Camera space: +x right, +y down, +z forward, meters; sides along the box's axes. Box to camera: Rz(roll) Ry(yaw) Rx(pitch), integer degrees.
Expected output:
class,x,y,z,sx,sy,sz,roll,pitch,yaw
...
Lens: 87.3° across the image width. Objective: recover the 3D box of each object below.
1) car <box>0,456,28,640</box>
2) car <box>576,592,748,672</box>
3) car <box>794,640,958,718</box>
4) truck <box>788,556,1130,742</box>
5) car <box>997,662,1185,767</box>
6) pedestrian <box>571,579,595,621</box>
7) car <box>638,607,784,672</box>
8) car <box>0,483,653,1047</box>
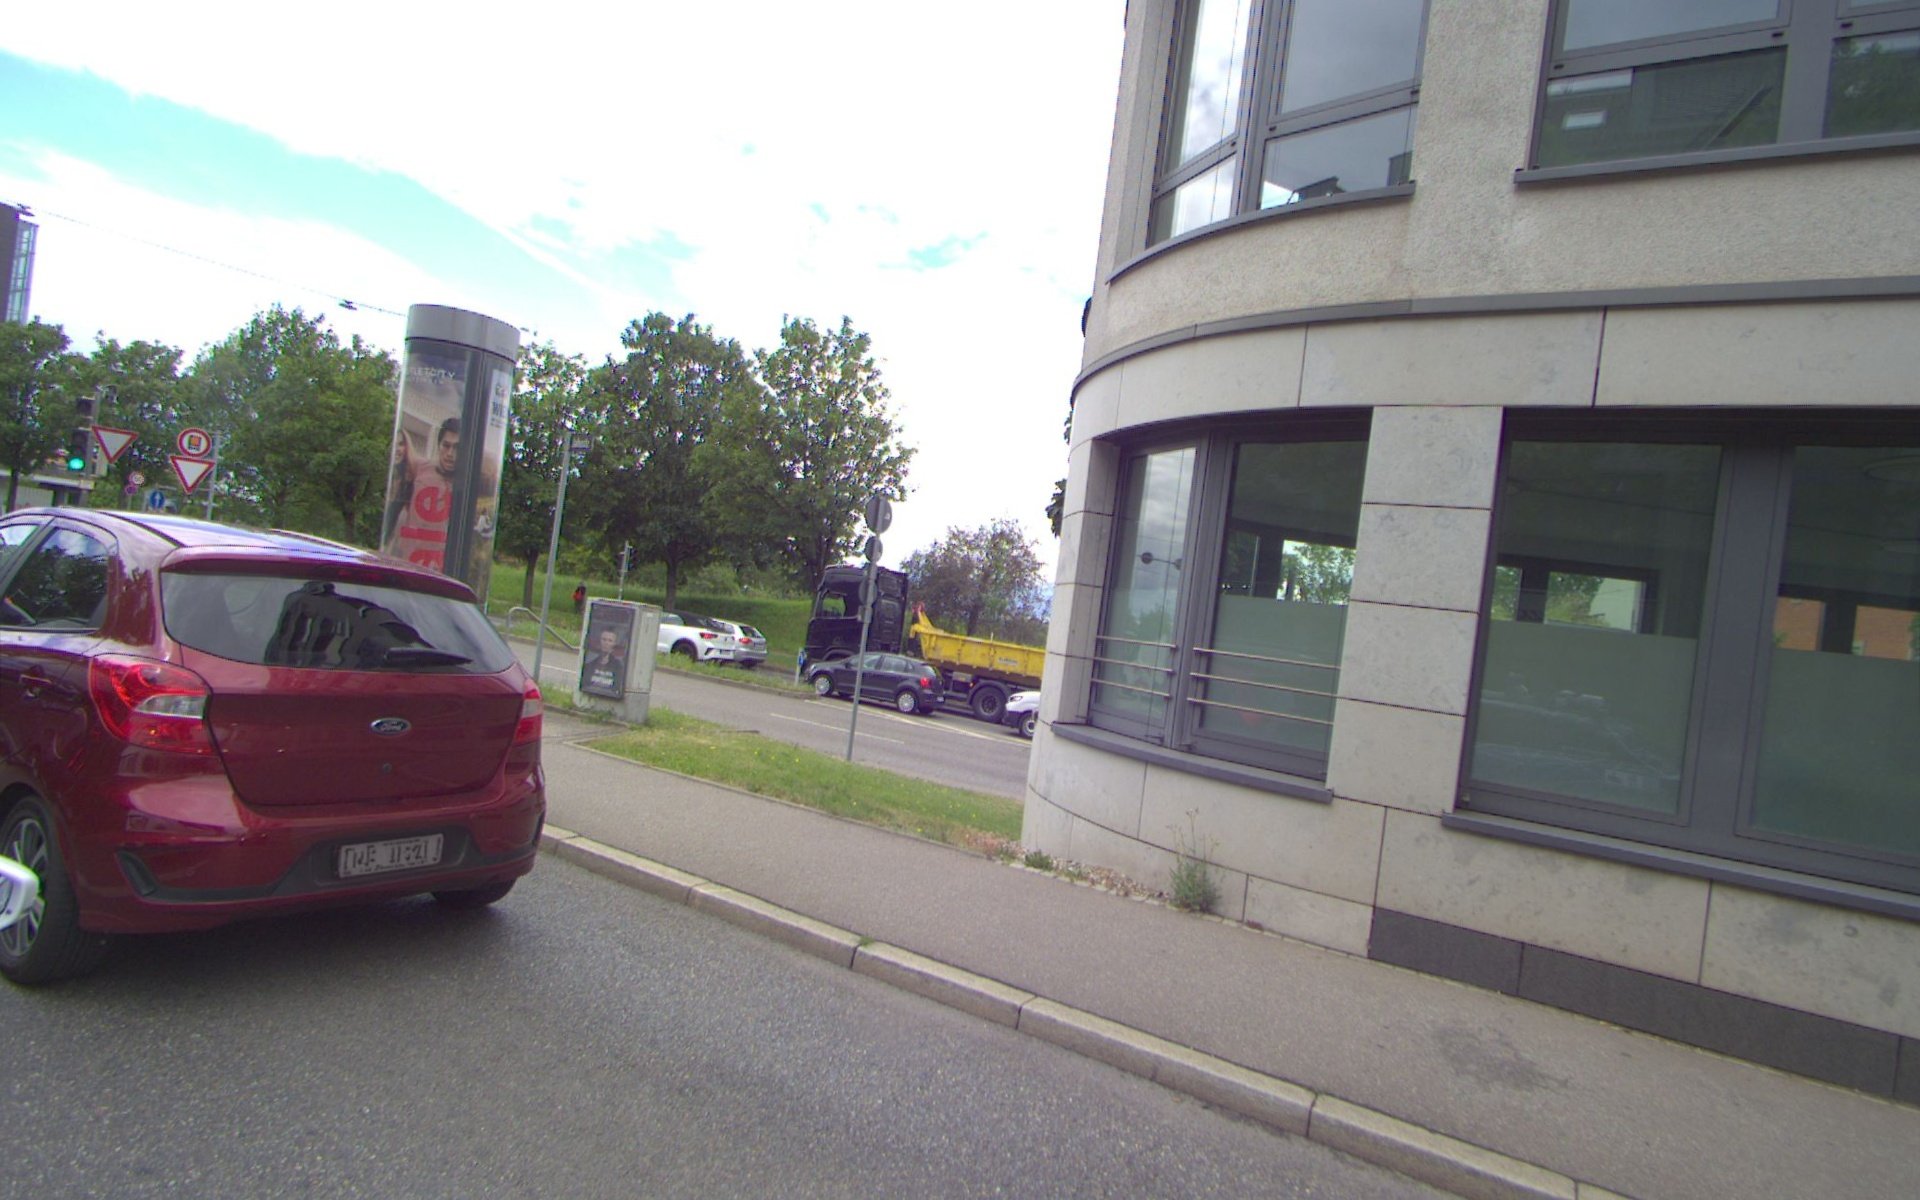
class,x,y,z,sx,sy,sz,roll,pitch,yaw
car,-10.876,-0.651,9.520,4.635,1.880,1.905,7,-2,35
car,-8.668,0.942,29.335,4.404,1.547,1.858,9,-2,19
car,-2.229,2.105,26.901,3.903,1.389,1.656,8,-2,19
truck,-0.045,1.360,29.732,9.280,3.969,2.832,8,-2,18
car,3.287,2.791,25.012,4.206,1.817,1.758,9,-2,17
pedestrian,-15.643,0.001,41.752,0.691,1.626,0.540,9,5,34
car,-8.126,1.302,32.923,4.081,1.458,1.992,8,-2,19
car,-3.399,0.381,4.446,3.656,1.498,1.749,7,-2,30
